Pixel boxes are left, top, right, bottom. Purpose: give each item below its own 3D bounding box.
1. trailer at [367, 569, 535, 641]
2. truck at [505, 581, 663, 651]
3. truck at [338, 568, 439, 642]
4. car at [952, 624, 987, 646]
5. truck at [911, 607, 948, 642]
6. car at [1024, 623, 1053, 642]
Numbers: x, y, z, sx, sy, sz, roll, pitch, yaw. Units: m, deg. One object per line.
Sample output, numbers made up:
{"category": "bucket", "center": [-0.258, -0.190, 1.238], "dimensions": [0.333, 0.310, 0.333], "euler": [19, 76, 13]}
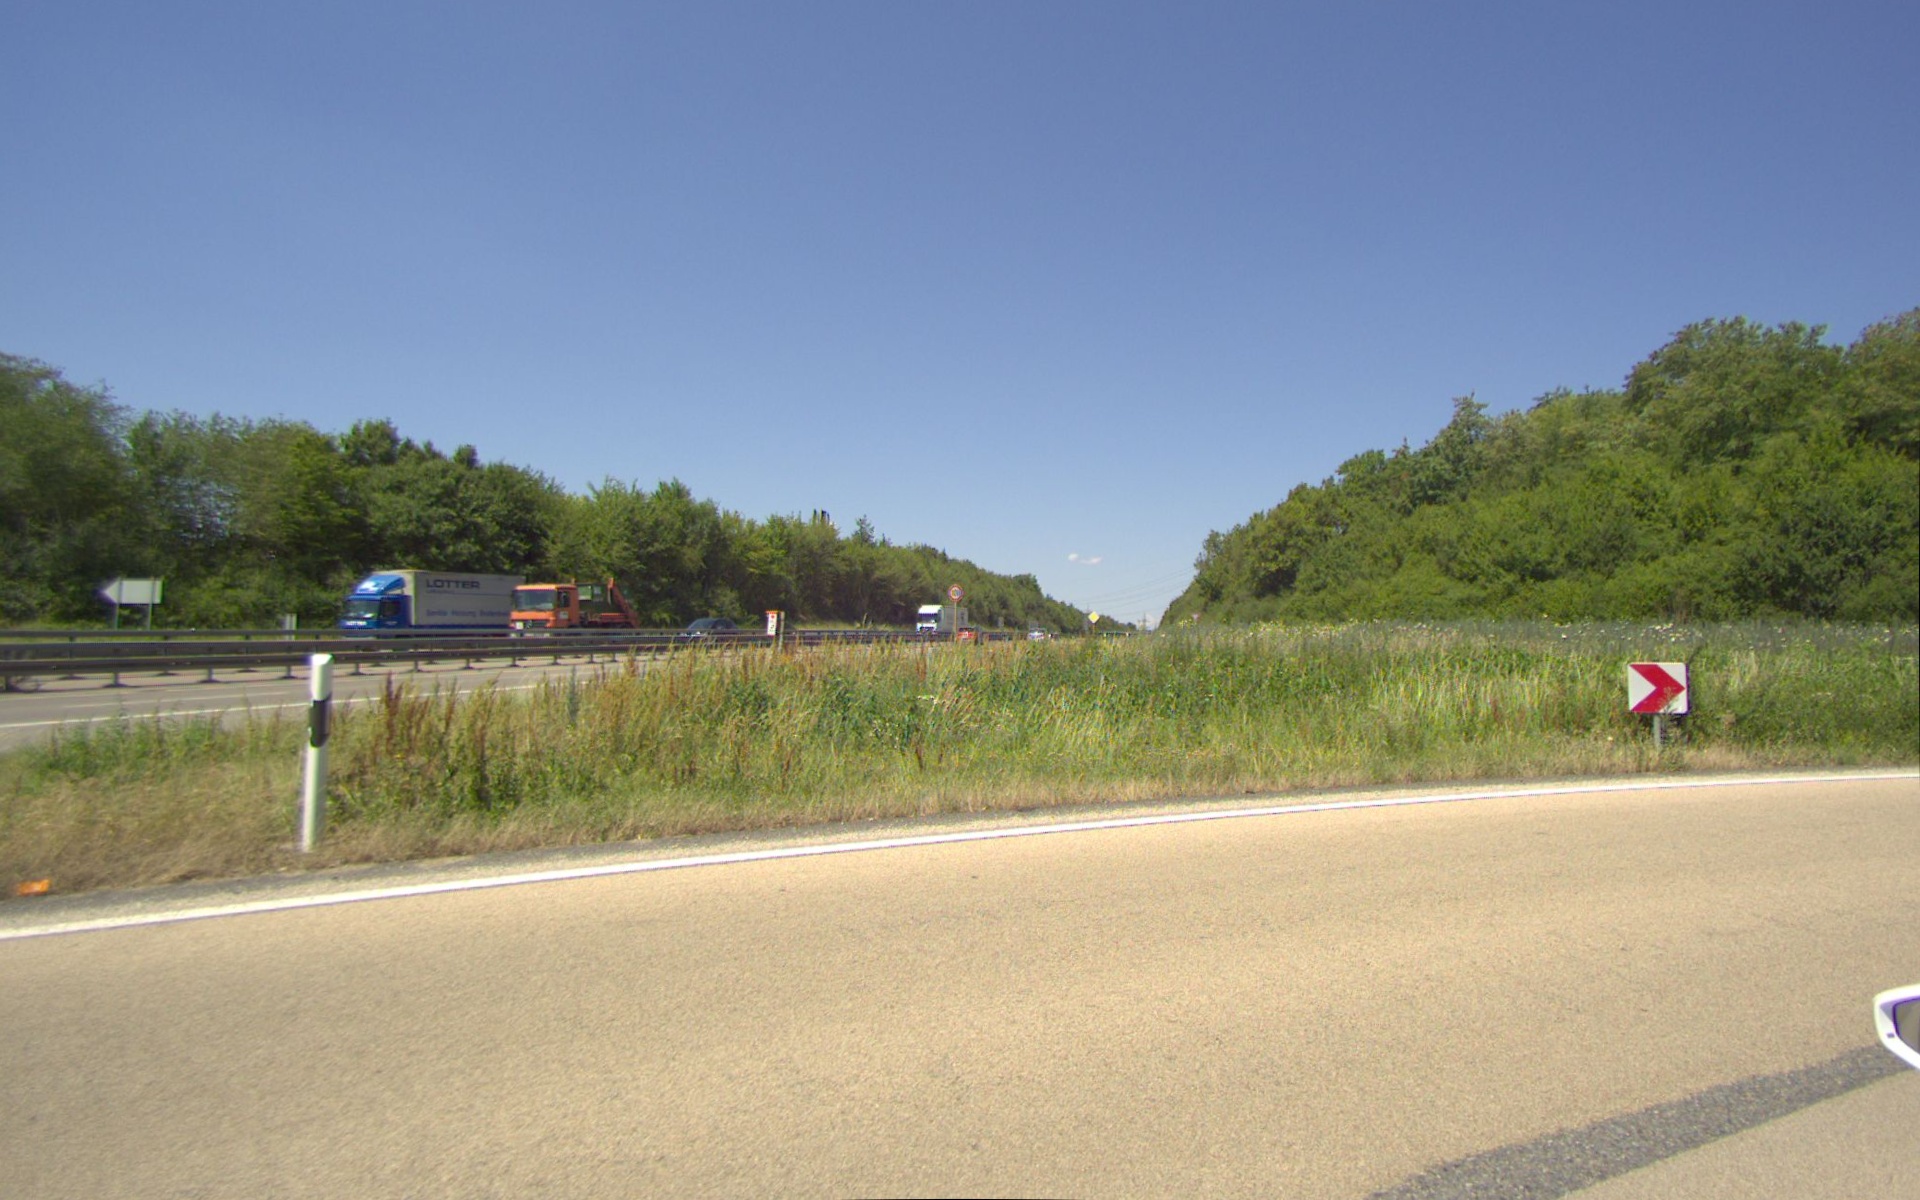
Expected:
{"category": "trailer", "center": [-23.381, 0.259, 46.627], "dimensions": [2.261, 3.049, 7.218], "euler": [0, -1, 23]}
{"category": "truck", "center": [-17.960, 0.771, 48.748], "dimensions": [2.551, 3.103, 8.206], "euler": [0, -1, 19]}
{"category": "truck", "center": [-24.740, 0.223, 43.571], "dimensions": [2.272, 3.049, 3.074], "euler": [0, -1, 24]}
{"category": "car", "center": [0.721, 2.586, 75.056], "dimensions": [1.715, 1.574, 3.381], "euler": [0, -1, 17]}
{"category": "truck", "center": [-3.496, 2.842, 116.918], "dimensions": [2.862, 3.991, 5.421], "euler": [0, -2, 15]}
{"category": "car", "center": [6.631, 2.708, 84.729], "dimensions": [1.715, 1.598, 3.381], "euler": [-1, -1, 17]}
